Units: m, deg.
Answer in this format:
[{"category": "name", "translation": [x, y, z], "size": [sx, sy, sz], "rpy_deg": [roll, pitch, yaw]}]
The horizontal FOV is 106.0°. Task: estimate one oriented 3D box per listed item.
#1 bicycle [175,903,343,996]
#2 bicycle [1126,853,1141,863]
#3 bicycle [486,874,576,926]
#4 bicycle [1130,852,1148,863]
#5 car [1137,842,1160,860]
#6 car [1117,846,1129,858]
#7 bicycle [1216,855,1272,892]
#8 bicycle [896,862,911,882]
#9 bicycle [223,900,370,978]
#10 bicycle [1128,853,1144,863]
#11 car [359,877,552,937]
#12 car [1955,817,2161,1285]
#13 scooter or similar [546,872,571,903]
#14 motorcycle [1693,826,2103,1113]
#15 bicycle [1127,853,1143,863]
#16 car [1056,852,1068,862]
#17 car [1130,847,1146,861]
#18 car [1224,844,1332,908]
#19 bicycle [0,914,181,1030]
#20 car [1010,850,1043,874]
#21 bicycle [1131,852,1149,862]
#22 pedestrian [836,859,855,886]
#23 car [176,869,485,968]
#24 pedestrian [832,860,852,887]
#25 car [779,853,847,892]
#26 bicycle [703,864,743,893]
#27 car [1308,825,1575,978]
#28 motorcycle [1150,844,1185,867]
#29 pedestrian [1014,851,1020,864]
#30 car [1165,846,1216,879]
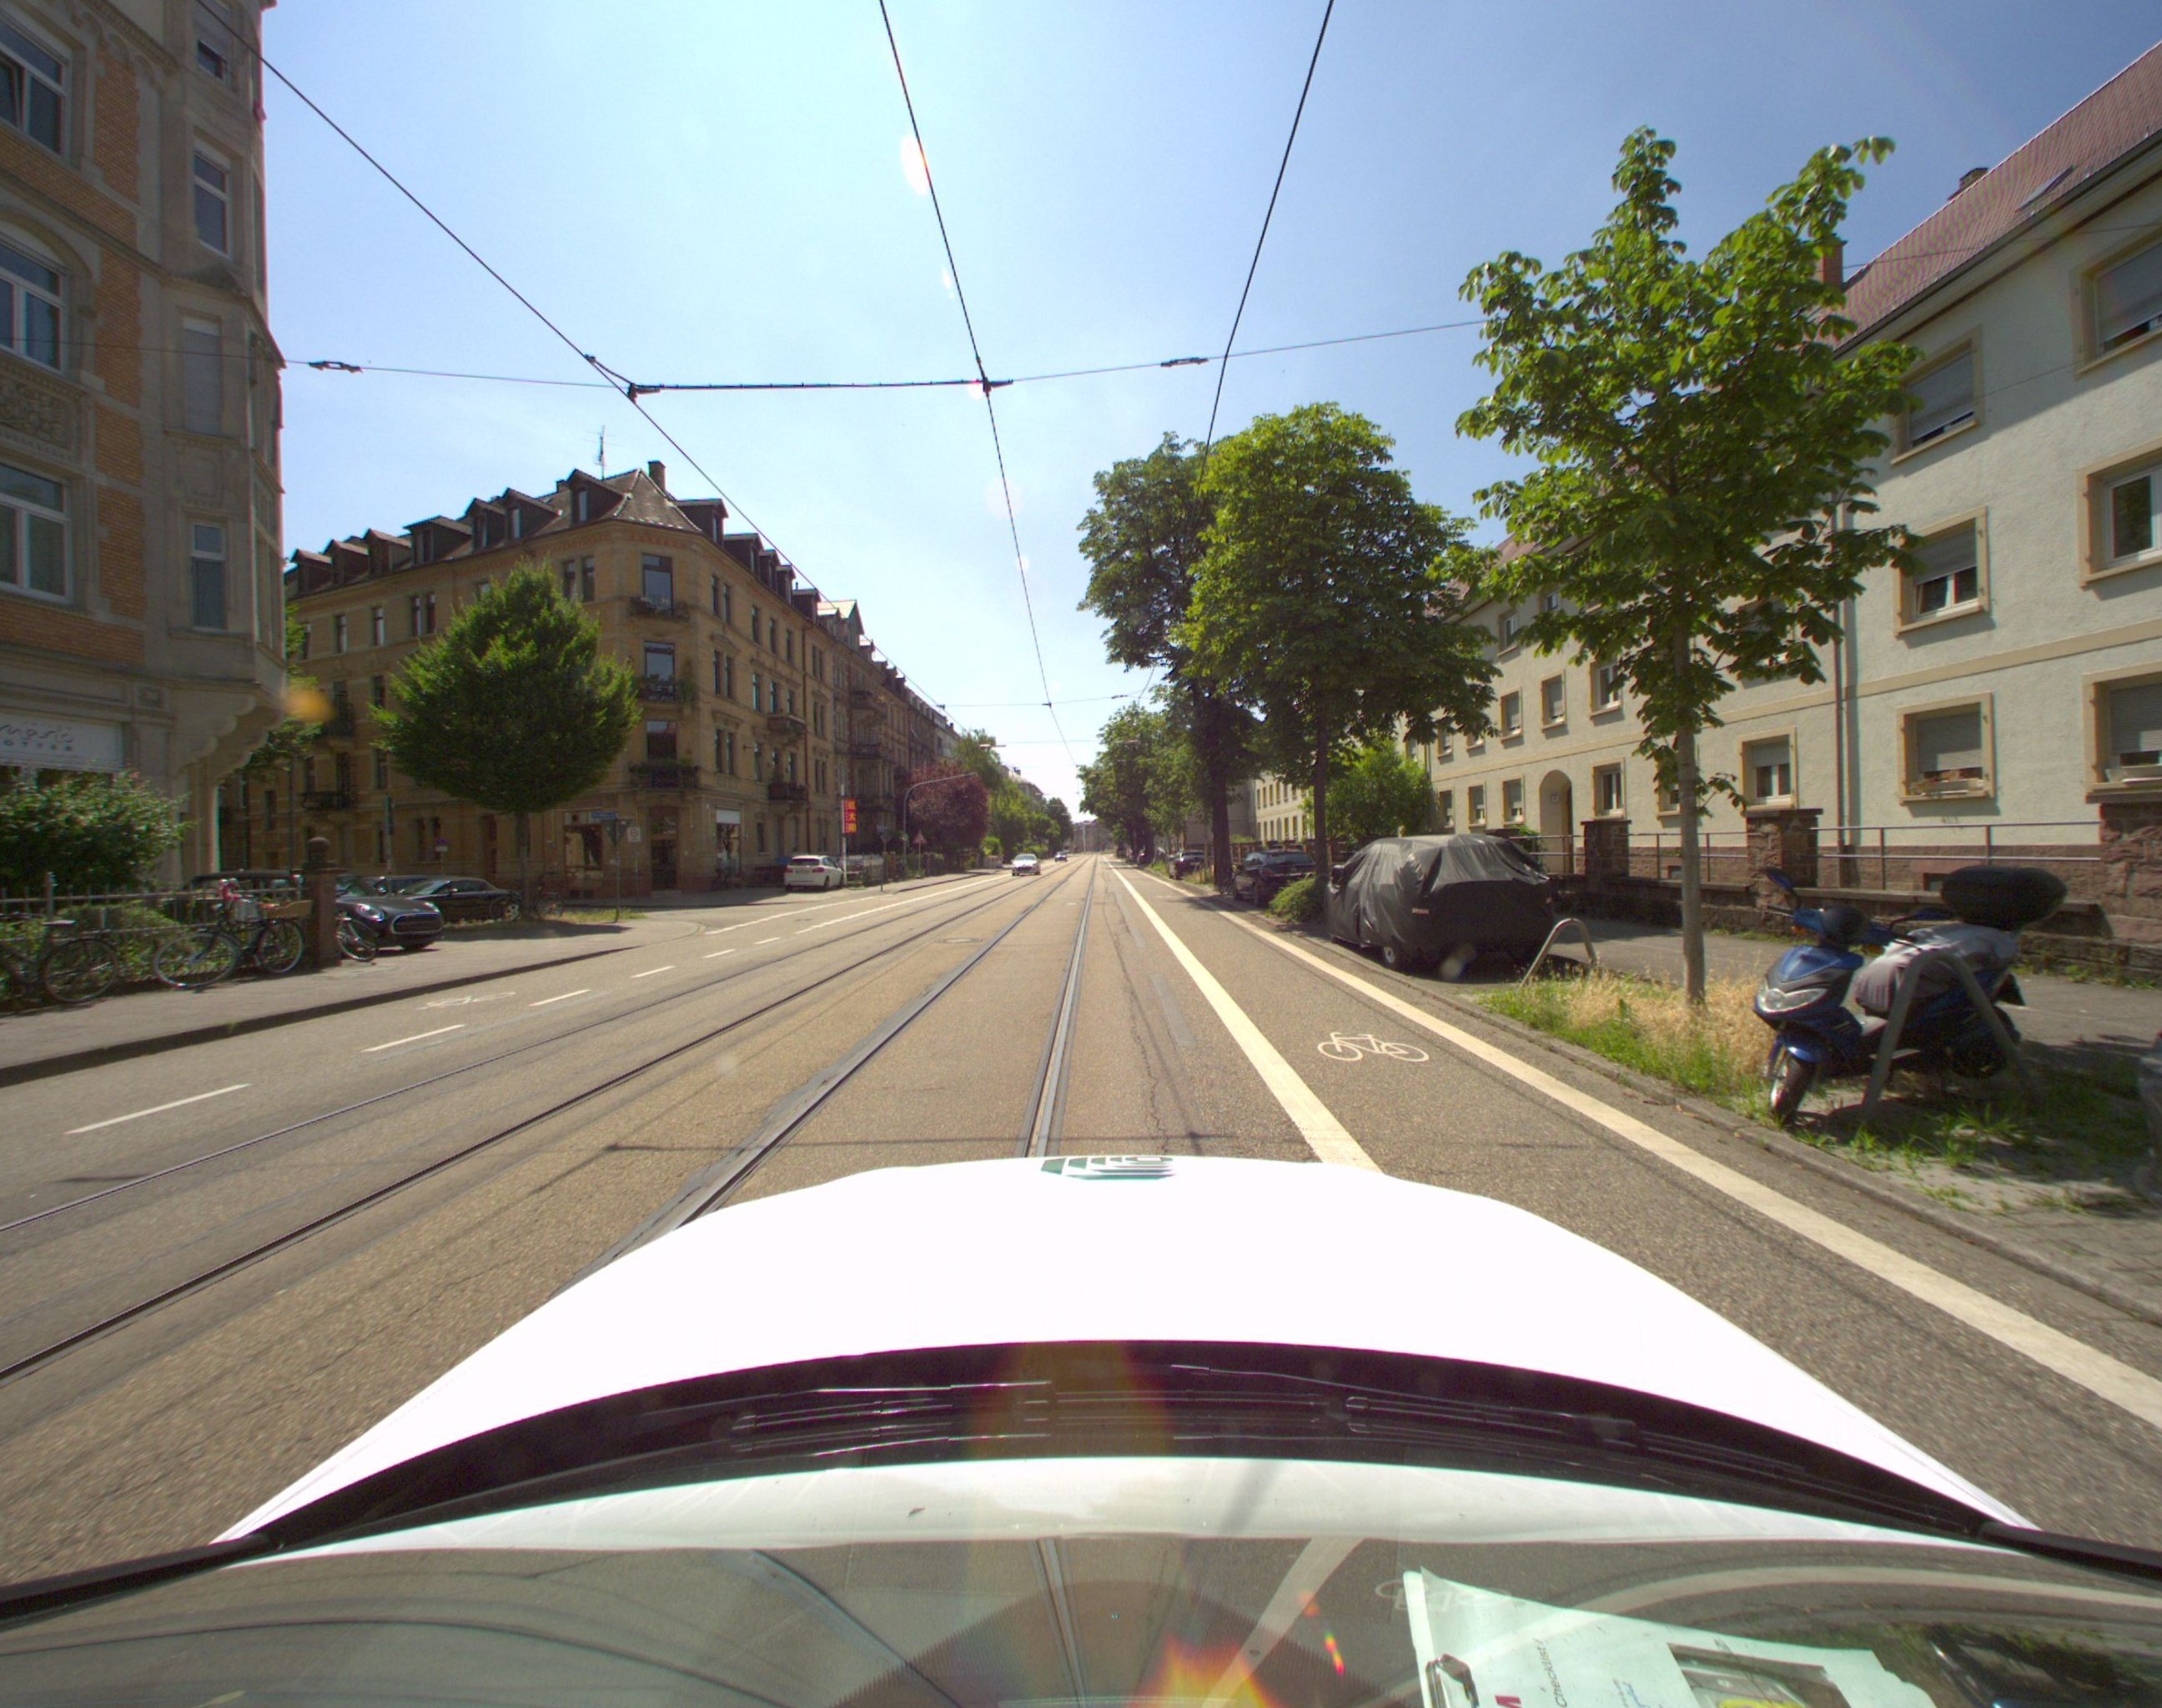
[{"category": "bicycle", "translation": [-10.759, 1.207, 10.750], "size": [0.437, 0.983, 1.710], "rpy_deg": [-3, 1, 0]}, {"category": "bicycle", "translation": [6.887, 0.501, 106.292], "size": [1.810, 1.113, 0.493], "rpy_deg": [-4, -1, 0]}, {"category": "bicycle", "translation": [-14.128, 1.172, 20.973], "size": [0.495, 1.228, 1.862], "rpy_deg": [-3, -2, 29]}, {"category": "bicycle", "translation": [6.572, 0.388, 92.488], "size": [1.952, 1.063, 0.600], "rpy_deg": [-3, 0, 7]}, {"category": "car", "translation": [6.455, -0.312, 78.103], "size": [1.768, 1.501, 4.305], "rpy_deg": [-4, 1, 0]}, {"category": "car", "translation": [7.753, -0.434, 151.230], "size": [1.986, 2.035, 4.698], "rpy_deg": [-3, 1, 1]}, {"category": "bicycle", "translation": [5.256, 0.628, 26.298], "size": [1.651, 1.078, 0.605], "rpy_deg": [-3, 1, -7]}, {"category": "bicycle", "translation": [-10.003, 1.000, 45.857], "size": [0.453, 1.003, 1.805], "rpy_deg": [-3, 1, -2]}, {"category": "bicycle", "translation": [-11.665, 1.262, 12.130], "size": [1.697, 1.037, 0.552], "rpy_deg": [-3, 1, 5]}, {"category": "bicycle", "translation": [6.841, 0.503, 101.114], "size": [1.955, 1.113, 0.599], "rpy_deg": [-4, -1, 3]}, {"category": "car", "translation": [-16.627, 1.372, 21.876], "size": [1.611, 1.339, 3.792], "rpy_deg": [-3, -1, 21]}, {"category": "car", "translation": [4.487, 0.663, 1.125], "size": [1.727, 1.552, 4.452], "rpy_deg": [-3, 1, -1]}, {"category": "scooter or similar", "translation": [-22.244, 1.432, 34.685], "size": [1.265, 1.273, 0.500], "rpy_deg": [-3, 1, 42]}, {"category": "motorcycle", "translation": [4.744, 0.604, 4.776], "size": [1.912, 1.433, 0.670], "rpy_deg": [-3, 1, -8]}, {"category": "bicycle", "translation": [6.764, 0.504, 101.788], "size": [2.002, 1.113, 0.640], "rpy_deg": [-4, -1, 3]}, {"category": "car", "translation": [-2.828, 0.426, 122.017], "size": [1.680, 1.454, 3.749], "rpy_deg": [-3, 1, 1]}, {"category": "car", "translation": [6.777, 0.015, 96.922], "size": [1.616, 1.448, 3.811], "rpy_deg": [-5, 0, 1]}, {"category": "car", "translation": [5.147, 0.512, 21.831], "size": [1.690, 1.418, 4.355], "rpy_deg": [-3, 1, -1]}, {"category": "bicycle", "translation": [-10.816, 1.224, 8.708], "size": [0.437, 0.983, 1.710], "rpy_deg": [-3, 1, 0]}, {"category": "car", "translation": [-3.649, 0.527, 54.916], "size": [1.749, 1.424, 4.002], "rpy_deg": [-4, 1, 2]}, {"category": "bicycle", "translation": [6.654, 0.371, 92.111], "size": [1.879, 1.052, 0.539], "rpy_deg": [-3, 0, 7]}, {"category": "pedestrian", "translation": [-12.325, 0.964, 42.629], "size": [0.708, 1.298, 0.711], "rpy_deg": [-4, 1, -3]}, {"category": "car", "translation": [-12.906, 1.071, 14.167], "size": [3.746, 1.428, 1.714], "rpy_deg": [-3, 0, 1]}, {"category": "pedestrian", "translation": [-12.288, 0.981, 41.853], "size": [0.708, 1.298, 0.711], "rpy_deg": [-4, 1, -3]}, {"category": "car", "translation": [-12.019, 0.795, 36.794], "size": [1.862, 1.600, 4.096], "rpy_deg": [-2, 1, -4]}, {"category": "bicycle", "translation": [-15.922, 1.082, 36.315], "size": [0.635, 1.187, 2.147], "rpy_deg": [-3, 1, 4]}, {"category": "car", "translation": [4.802, 0.493, 11.763], "size": [1.938, 1.650, 4.886], "rpy_deg": [-3, 1, 4]}, {"category": "motorcycle", "translation": [5.978, 0.132, 56.569], "size": [2.291, 1.540, 0.875], "rpy_deg": [-2, 1, 44]}, {"category": "pedestrian", "translation": [-8.099, 0.433, 103.271], "size": [0.750, 1.629, 0.832], "rpy_deg": [-2, 0, -5]}, {"category": "car", "translation": [5.454, 0.379, 41.088], "size": [1.764, 1.426, 4.860], "rpy_deg": [-3, 1, -1]}]
